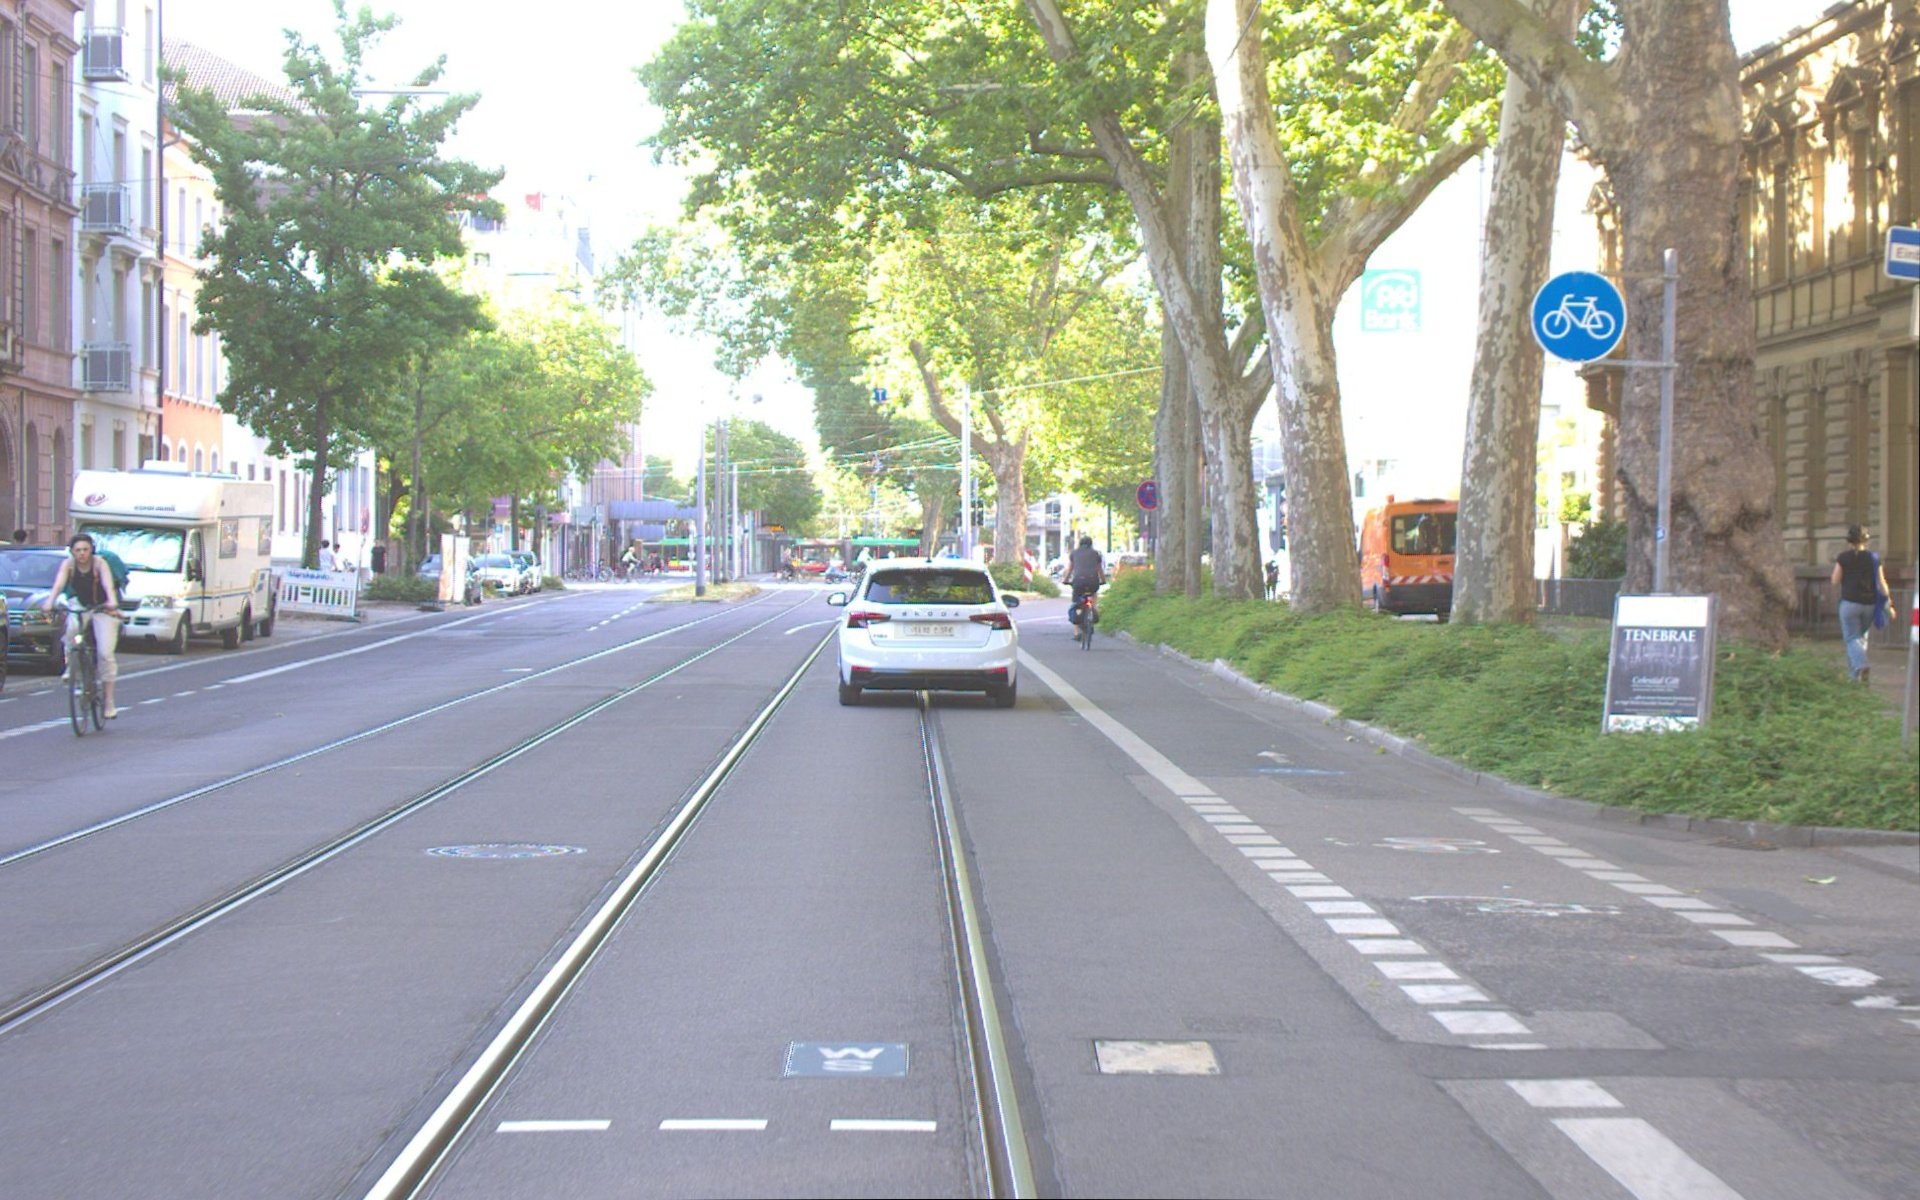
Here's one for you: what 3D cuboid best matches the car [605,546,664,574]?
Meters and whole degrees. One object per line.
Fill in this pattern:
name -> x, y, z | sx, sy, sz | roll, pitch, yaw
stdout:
car -> -22.636, -2.805, 239.250 | 3.794, 1.812, 1.803 | 2, 1, 4

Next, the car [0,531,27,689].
car -> -11.704, 0.095, 37.442 | 1.964, 1.775, 4.938 | 3, 1, -4

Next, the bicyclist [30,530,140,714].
bicyclist -> -7.318, 0.175, 28.795 | 0.638, 1.498, 1.070 | -1, 1, -1

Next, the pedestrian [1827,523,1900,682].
pedestrian -> 9.511, 0.023, 36.179 | 0.648, 1.627, 0.871 | 2, 1, 18

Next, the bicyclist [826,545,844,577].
bicyclist -> -6.064, -1.904, 166.281 | 0.631, 1.517, 0.610 | -1, 2, -36

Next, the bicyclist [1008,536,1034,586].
bicyclist -> 1.946, -1.230, 109.024 | 0.737, 1.583, 0.586 | 0, 1, 11

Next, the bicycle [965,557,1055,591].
bicycle -> 1.596, -0.821, 109.116 | 2.771, 0.996, 0.592 | 2, 1, 13

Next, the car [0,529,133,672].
car -> -12.323, -0.038, 45.327 | 1.964, 1.775, 4.471 | 1, 1, -3

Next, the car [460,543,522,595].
car -> -16.183, -1.092, 118.838 | 1.793, 1.720, 3.785 | 1, 1, -3

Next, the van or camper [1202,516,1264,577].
van or camper -> 10.801, -2.099, 136.264 | 1.993, 2.335, 4.000 | 2, 1, -1

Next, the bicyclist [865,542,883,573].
bicyclist -> -4.189, -2.089, 167.768 | 0.631, 1.517, 0.610 | -1, 2, -36

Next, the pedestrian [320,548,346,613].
pedestrian -> -17.223, -0.527, 94.477 | 0.600, 1.766, 0.701 | 2, 0, -5

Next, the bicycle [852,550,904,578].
bicycle -> -4.002, -1.765, 167.878 | 2.680, 1.323, 0.615 | -1, 1, -36

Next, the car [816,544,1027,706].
car -> -0.440, 0.213, 34.120 | 1.842, 1.475, 3.839 | 1, 1, -4

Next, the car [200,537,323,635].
car -> -12.755, -0.278, 62.950 | 1.641, 1.720, 3.785 | 1, 1, -3

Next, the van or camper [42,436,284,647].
van or camper -> -12.683, -0.930, 55.241 | 2.216, 3.129, 7.114 | 1, 1, 0

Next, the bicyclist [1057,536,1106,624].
bicyclist -> 1.881, -0.316, 53.188 | 0.679, 1.334, 0.525 | 2, 0, -2

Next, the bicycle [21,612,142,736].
bicycle -> -7.277, 0.597, 28.549 | 0.499, 0.940, 1.921 | -2, 1, 0

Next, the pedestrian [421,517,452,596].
pedestrian -> -13.385, -1.119, 87.944 | 0.601, 1.996, 0.749 | 1, 1, 3

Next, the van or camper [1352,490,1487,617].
van or camper -> 9.382, -0.951, 70.540 | 2.027, 2.455, 5.108 | 2, 1, 0

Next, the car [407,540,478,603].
car -> -14.820, -0.834, 98.587 | 1.641, 1.720, 3.785 | 1, 1, -3

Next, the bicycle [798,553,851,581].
bicycle -> -6.535, -1.601, 165.940 | 2.680, 1.323, 0.615 | -1, 1, -36

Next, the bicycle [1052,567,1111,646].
bicycle -> 1.869, 0.085, 53.194 | 0.680, 1.151, 2.964 | 2, 1, -2
